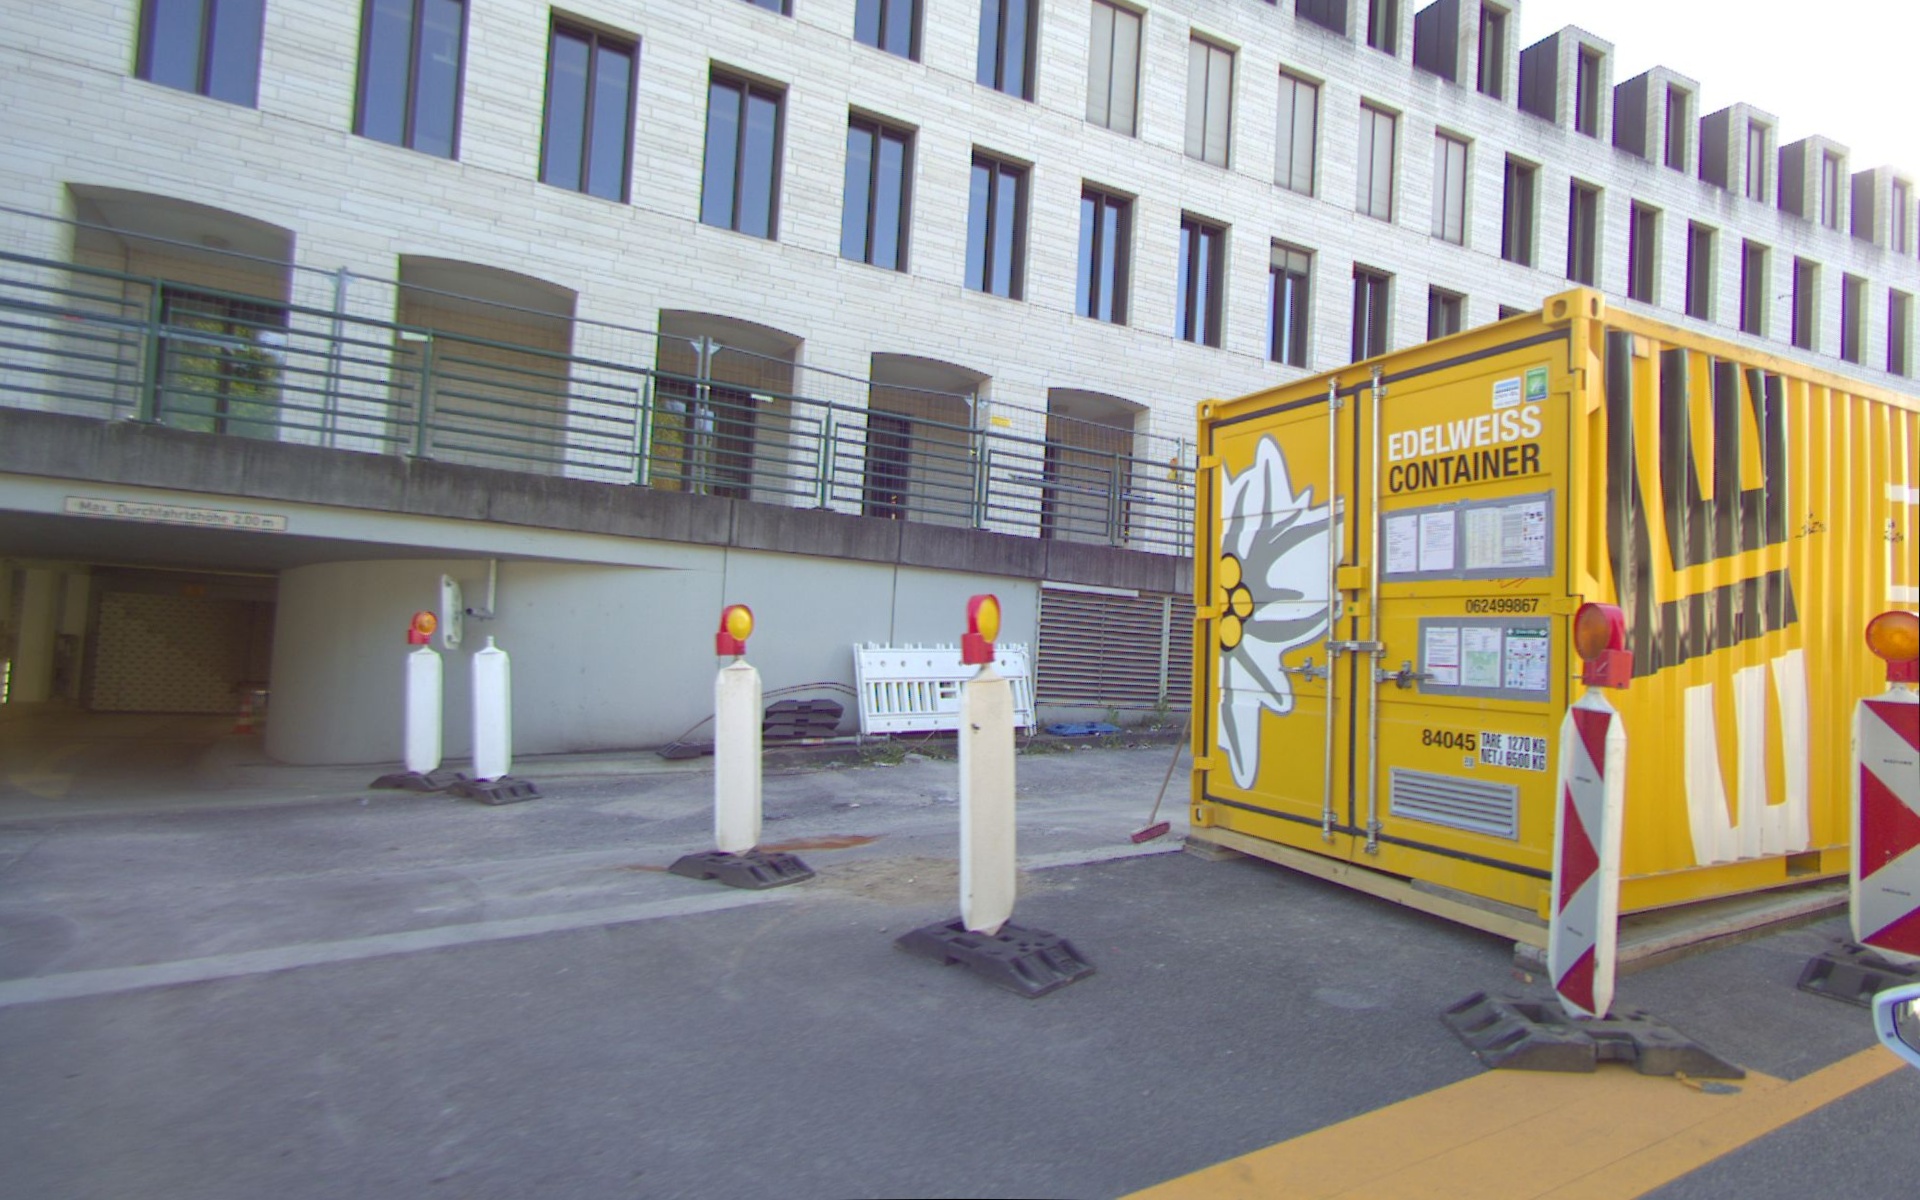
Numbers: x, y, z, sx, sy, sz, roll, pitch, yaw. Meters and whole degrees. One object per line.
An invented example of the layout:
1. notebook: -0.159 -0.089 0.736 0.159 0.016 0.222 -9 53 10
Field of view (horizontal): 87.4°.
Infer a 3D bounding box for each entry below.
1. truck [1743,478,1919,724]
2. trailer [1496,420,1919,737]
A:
1. truck: 16.116 0.149 16.470 5.733 3.534 2.575 1 -5 -23
2. trailer: 12.052 -0.043 14.750 8.630 3.715 2.636 2 -5 -25
